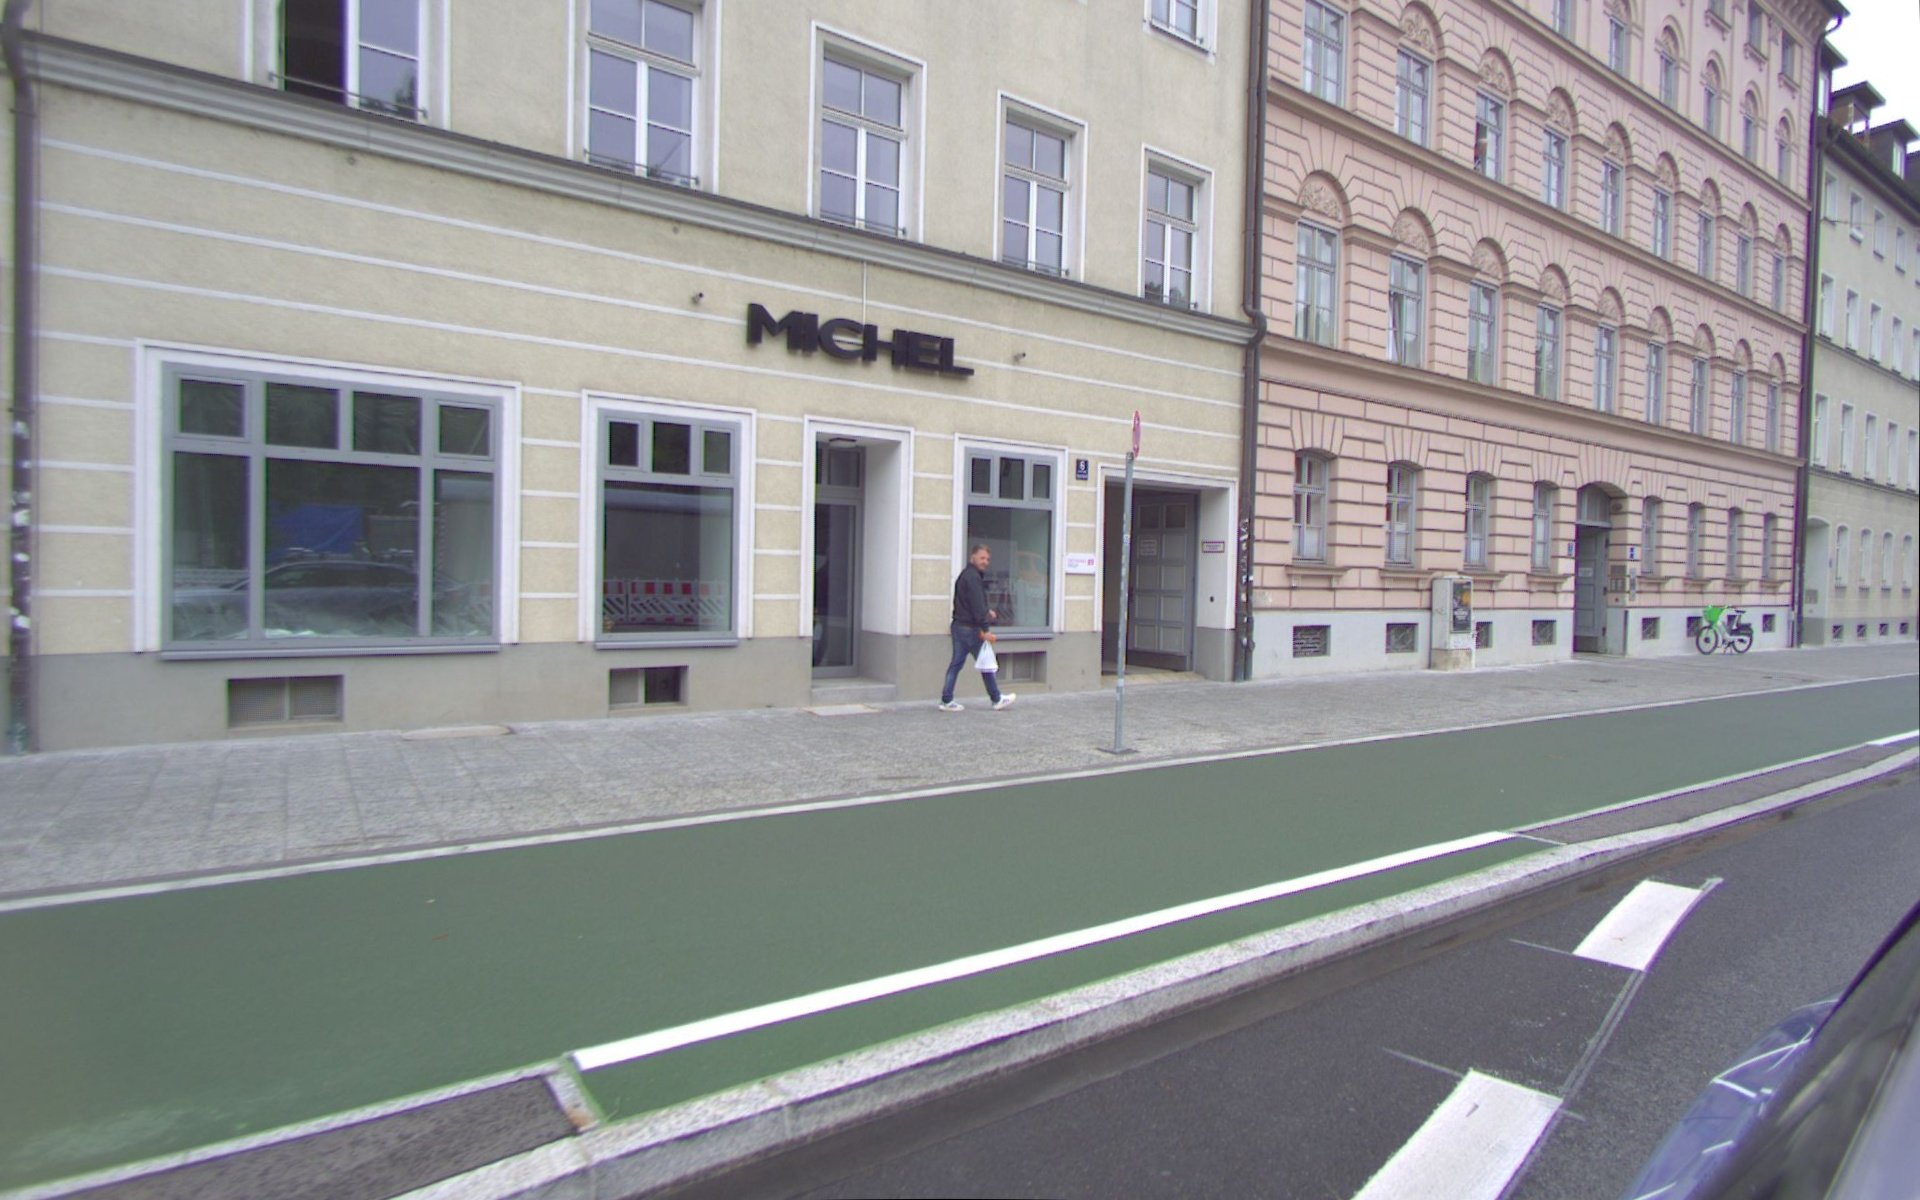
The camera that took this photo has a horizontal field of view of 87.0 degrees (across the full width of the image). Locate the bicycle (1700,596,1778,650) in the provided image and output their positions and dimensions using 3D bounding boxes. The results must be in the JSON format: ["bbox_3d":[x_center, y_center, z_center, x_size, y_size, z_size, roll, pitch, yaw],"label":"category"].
[{"bbox_3d":[18.015,0.533,23.401,1.689,1.191,0.559,1,1,-20],"label":"bicycle"}]

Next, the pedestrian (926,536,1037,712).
[{"bbox_3d":[0.219,0.225,10.675,0.817,1.767,0.797,1,1,-34],"label":"pedestrian"}]
